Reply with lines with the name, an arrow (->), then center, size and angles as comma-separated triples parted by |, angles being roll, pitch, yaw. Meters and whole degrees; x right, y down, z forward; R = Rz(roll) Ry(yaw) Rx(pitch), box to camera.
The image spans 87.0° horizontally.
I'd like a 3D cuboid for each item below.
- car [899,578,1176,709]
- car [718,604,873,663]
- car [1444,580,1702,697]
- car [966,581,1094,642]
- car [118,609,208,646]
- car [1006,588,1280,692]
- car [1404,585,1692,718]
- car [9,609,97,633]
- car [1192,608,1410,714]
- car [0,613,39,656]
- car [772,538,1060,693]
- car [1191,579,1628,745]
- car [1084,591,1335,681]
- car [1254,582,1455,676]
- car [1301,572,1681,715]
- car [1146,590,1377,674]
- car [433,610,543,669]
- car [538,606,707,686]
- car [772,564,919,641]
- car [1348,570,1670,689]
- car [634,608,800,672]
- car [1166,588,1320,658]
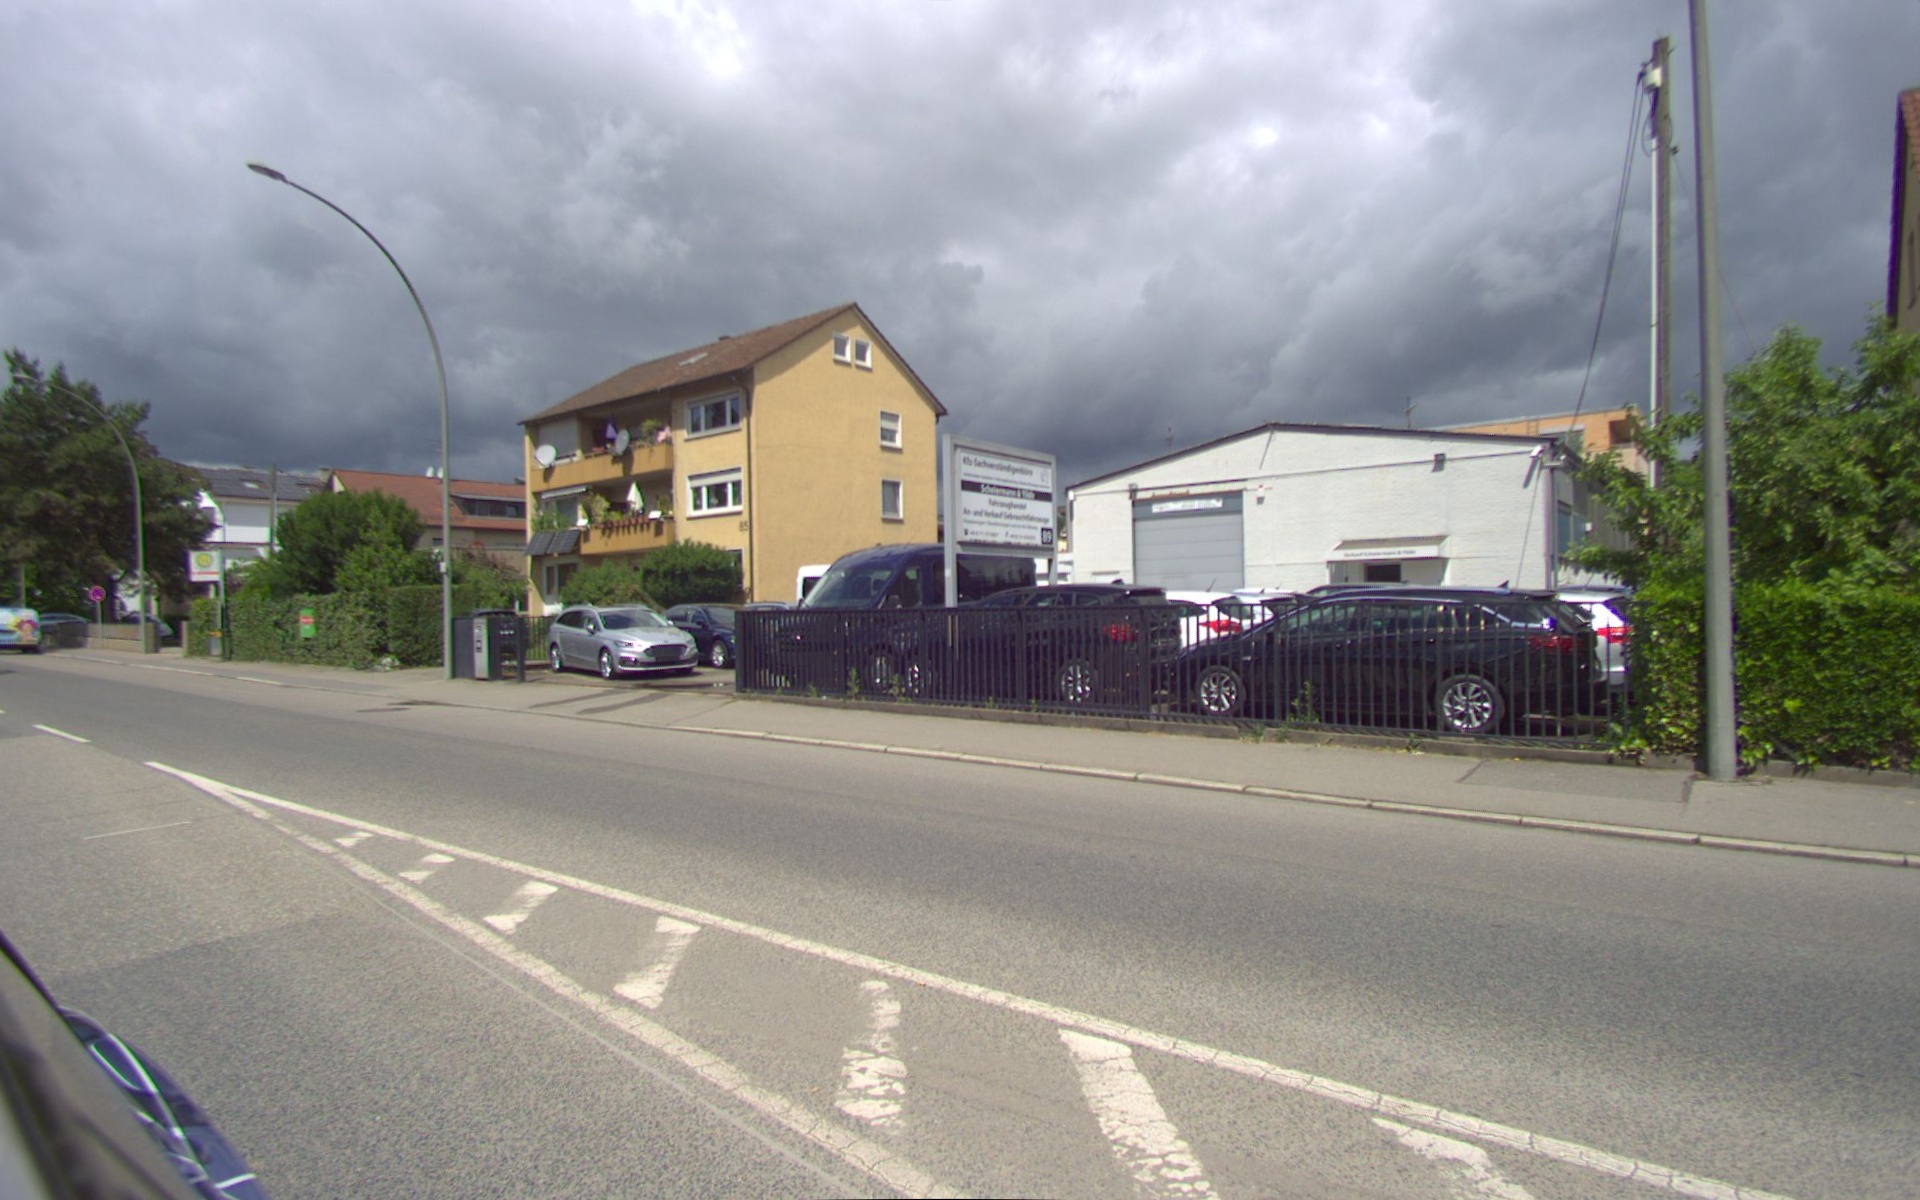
car -> 1.037, 0.555, 14.497 | 3.619, 1.633, 1.790 | -1, 0, 41
car -> -4.320, 0.832, 26.282 | 3.998, 1.383, 1.859 | -1, 0, 41
car -> 11.796, 0.681, 19.594 | 3.998, 2.029, 1.973 | -1, 0, 41
car -> 2.370, 0.384, 34.617 | 3.998, 1.941, 1.973 | -1, 0, 41
car -> -46.365, 1.579, 58.930 | 3.954, 2.029, 1.995 | -1, 0, 9
car -> 2.870, 0.577, 16.307 | 3.998, 1.470, 1.795 | -1, 0, 41
car -> 10.087, 0.794, 17.502 | 3.998, 2.029, 1.973 | -1, 0, 41
car -> -68.433, 1.534, 76.405 | 2.216, 1.691, 4.676 | -1, 0, 39
car -> 7.254, 1.217, 21.721 | 3.998, 2.029, 1.973 | -1, 0, 41
car -> -39.293, 1.391, 41.479 | 3.995, 1.693, 1.708 | -1, 0, 39
car -> -0.628, 0.220, 18.362 | 2.104, 2.402, 5.293 | -1, 0, 42
car -> 4.809, 0.571, 11.117 | 4.040, 1.494, 1.840 | -1, 0, 40
car -> 4.353, 0.581, 17.982 | 3.998, 1.423, 1.716 | -1, 0, 41
car -> 9.266, 0.643, 23.928 | 3.998, 2.029, 1.973 | -1, 0, 41
car -> 6.744, 0.486, 13.052 | 3.998, 1.552, 1.973 | -1, 0, 41
car -> 5.878, 0.586, 19.976 | 3.998, 1.498, 1.742 | -1, 0, 41
car -> -14.580, 1.168, 31.191 | 3.520, 1.678, 1.807 | -1, 0, 41
car -> -7.276, 0.897, 21.563 | 1.861, 1.470, 4.356 | -2, 1, -41
car -> -3.295, 0.079, 28.713 | 3.998, 2.029, 1.973 | -1, 0, 41
car -> 8.283, 0.401, 15.438 | 3.998, 1.560, 1.973 | -1, 0, 41
car -> -5.787, 0.894, 23.884 | 3.998, 1.352, 1.861 | -1, 0, 41
car -> 8.456, 0.659, 30.417 | 3.998, 1.941, 1.973 | -1, 0, 41
